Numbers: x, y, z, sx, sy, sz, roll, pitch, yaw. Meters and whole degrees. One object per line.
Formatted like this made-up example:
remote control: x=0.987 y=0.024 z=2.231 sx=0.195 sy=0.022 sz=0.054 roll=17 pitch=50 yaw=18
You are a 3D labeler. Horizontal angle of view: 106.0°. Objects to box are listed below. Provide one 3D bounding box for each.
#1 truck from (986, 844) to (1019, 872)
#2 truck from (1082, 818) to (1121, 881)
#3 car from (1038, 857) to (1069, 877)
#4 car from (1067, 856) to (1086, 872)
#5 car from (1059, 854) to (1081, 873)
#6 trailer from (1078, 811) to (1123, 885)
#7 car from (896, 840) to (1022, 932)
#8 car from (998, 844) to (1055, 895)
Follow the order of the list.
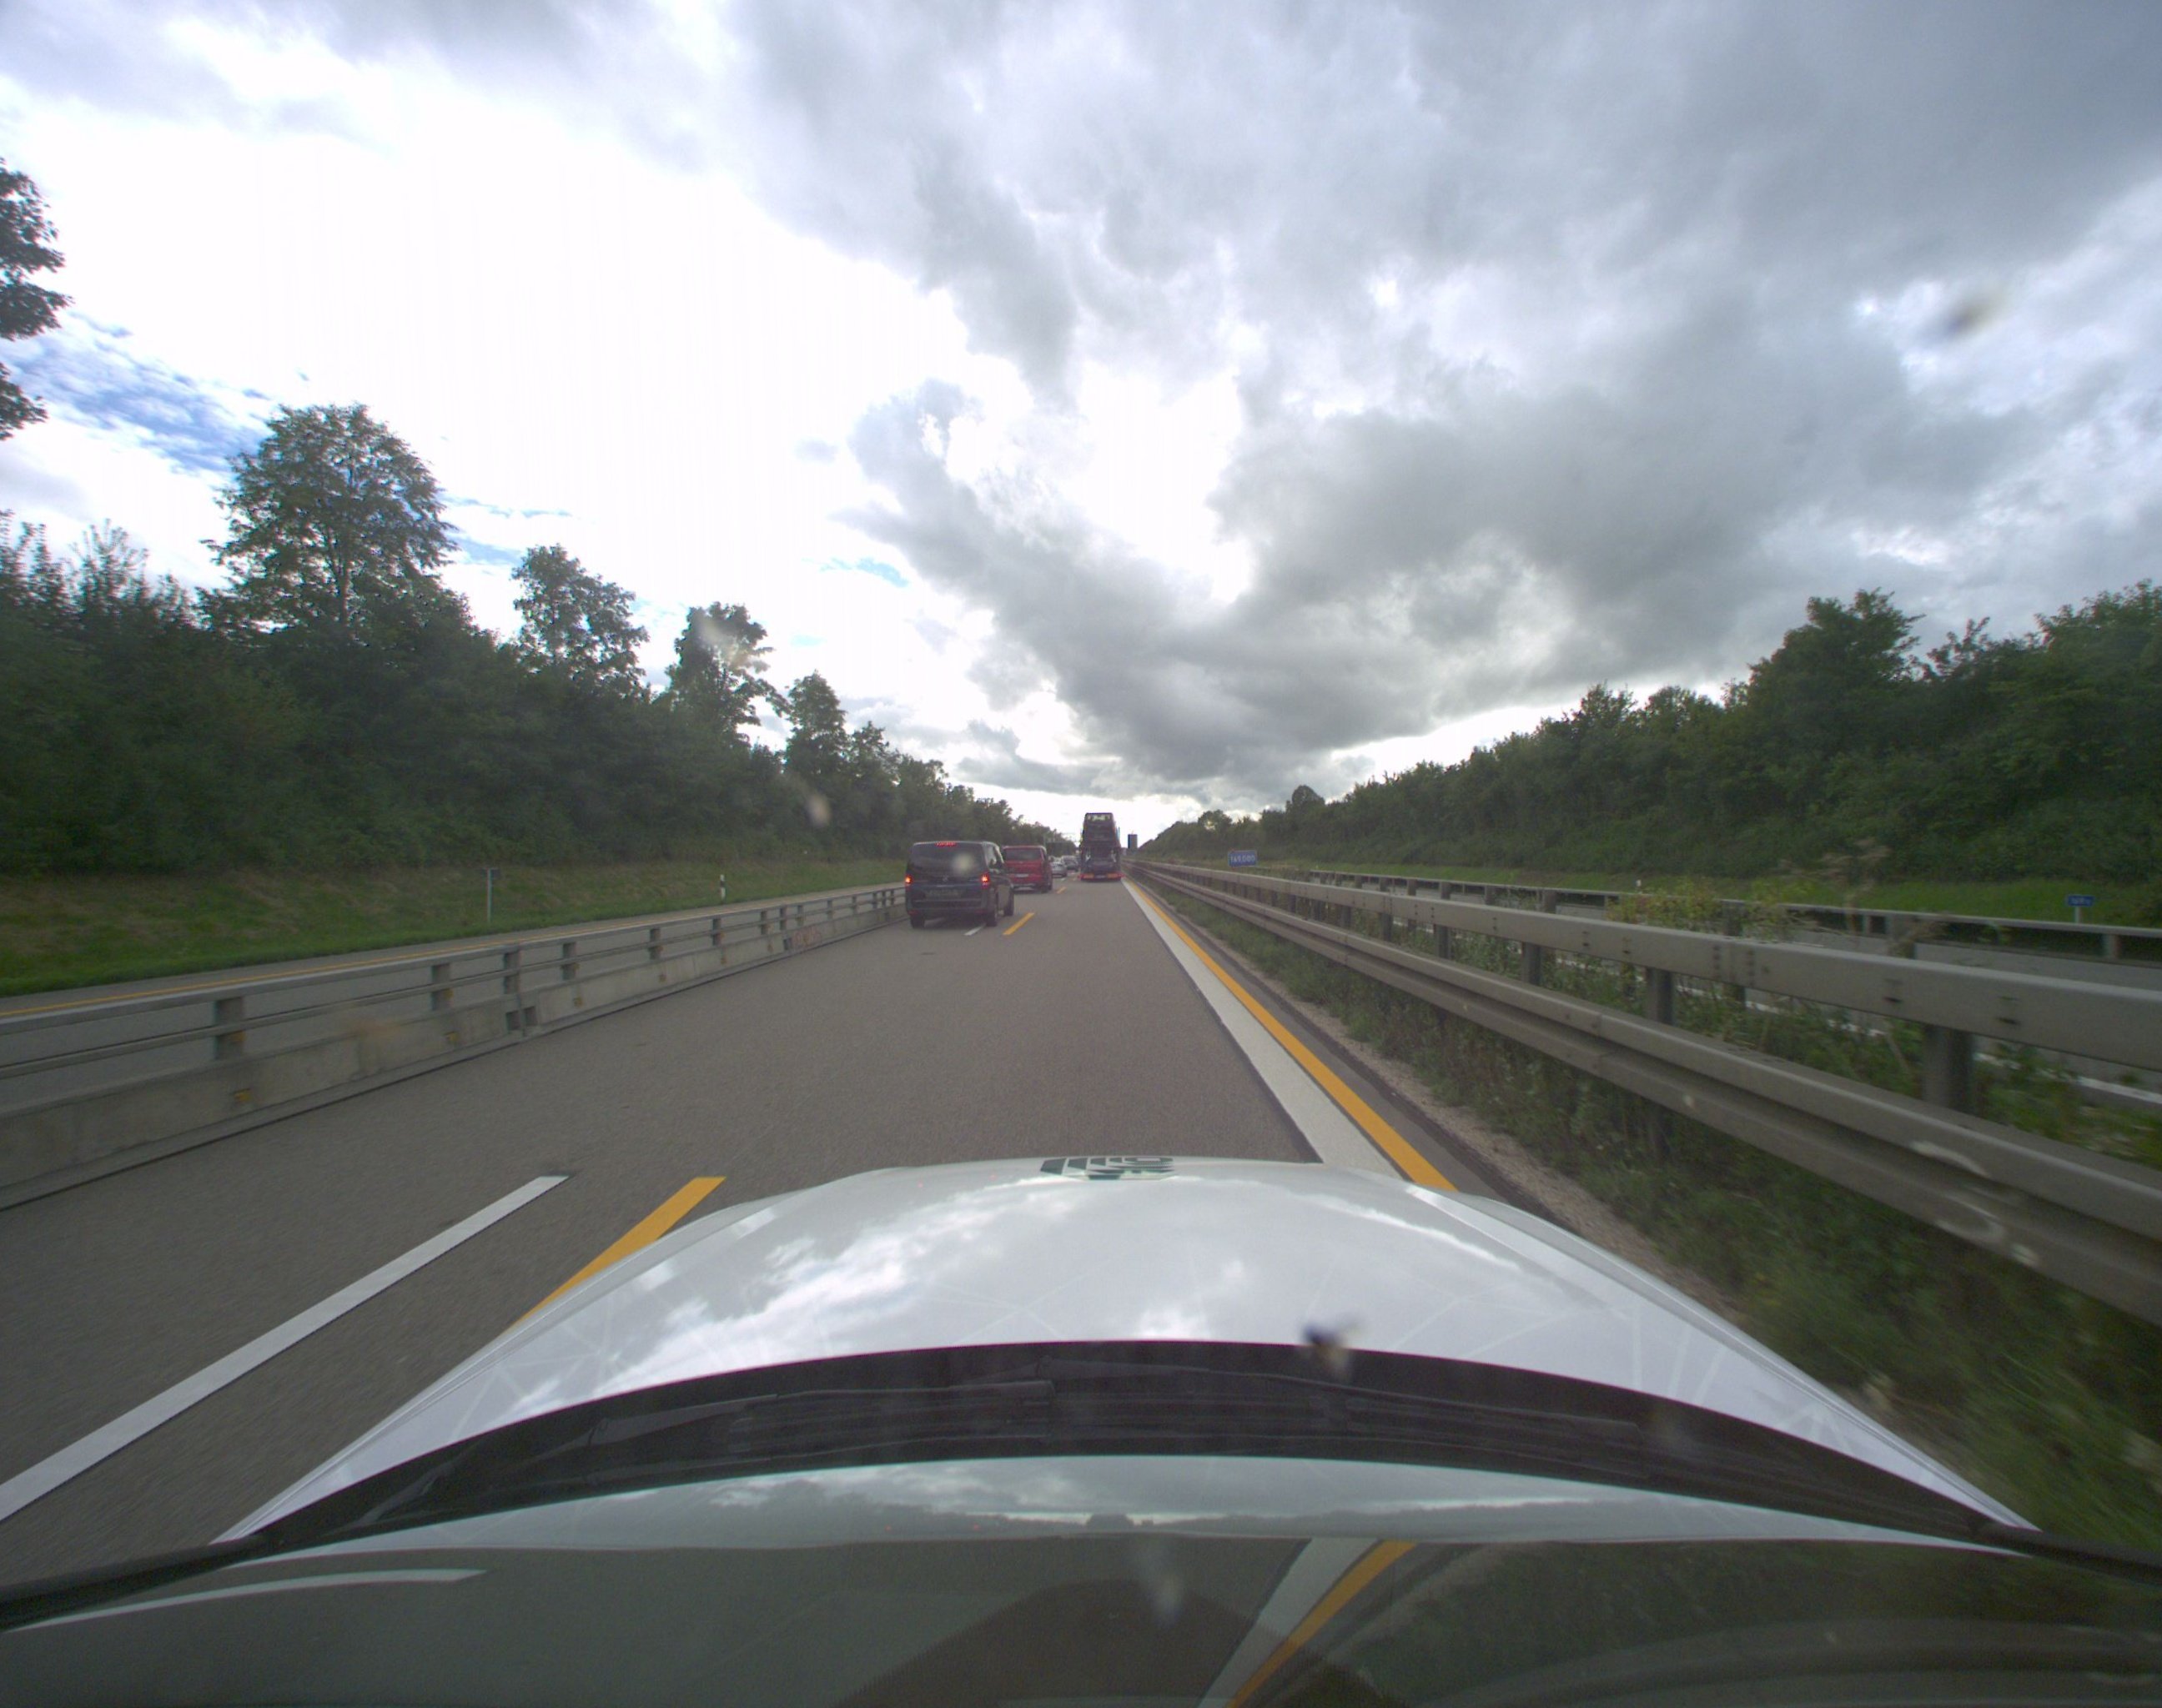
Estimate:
truck: x=-7.916 y=0.393 z=82.593 sx=2.480 sy=2.718 sz=6.669 roll=-1 pitch=0 yaw=2
truck: x=1.465 y=-0.267 z=56.260 sx=2.506 sy=4.105 sz=5.687 roll=-1 pitch=0 yaw=2
car: x=-1.989 y=0.928 z=59.663 sx=2.024 sy=1.431 sz=4.578 roll=-1 pitch=0 yaw=1
car: x=-0.477 y=1.137 z=93.976 sx=2.024 sy=1.757 sz=4.578 roll=-1 pitch=0 yaw=0
car: x=-1.068 y=0.953 z=79.957 sx=2.024 sy=1.757 sz=4.578 roll=-1 pitch=0 yaw=1
trailer: x=1.283 y=-0.303 z=51.538 sx=2.506 sy=4.105 sz=11.118 roll=-1 pitch=0 yaw=2
car: x=-2.722 y=0.669 z=19.570 sx=1.986 sy=1.843 sz=5.611 roll=-1 pitch=0 yaw=1
car: x=-2.261 y=0.623 z=34.961 sx=2.024 sy=2.014 sz=4.579 roll=-1 pitch=0 yaw=1
